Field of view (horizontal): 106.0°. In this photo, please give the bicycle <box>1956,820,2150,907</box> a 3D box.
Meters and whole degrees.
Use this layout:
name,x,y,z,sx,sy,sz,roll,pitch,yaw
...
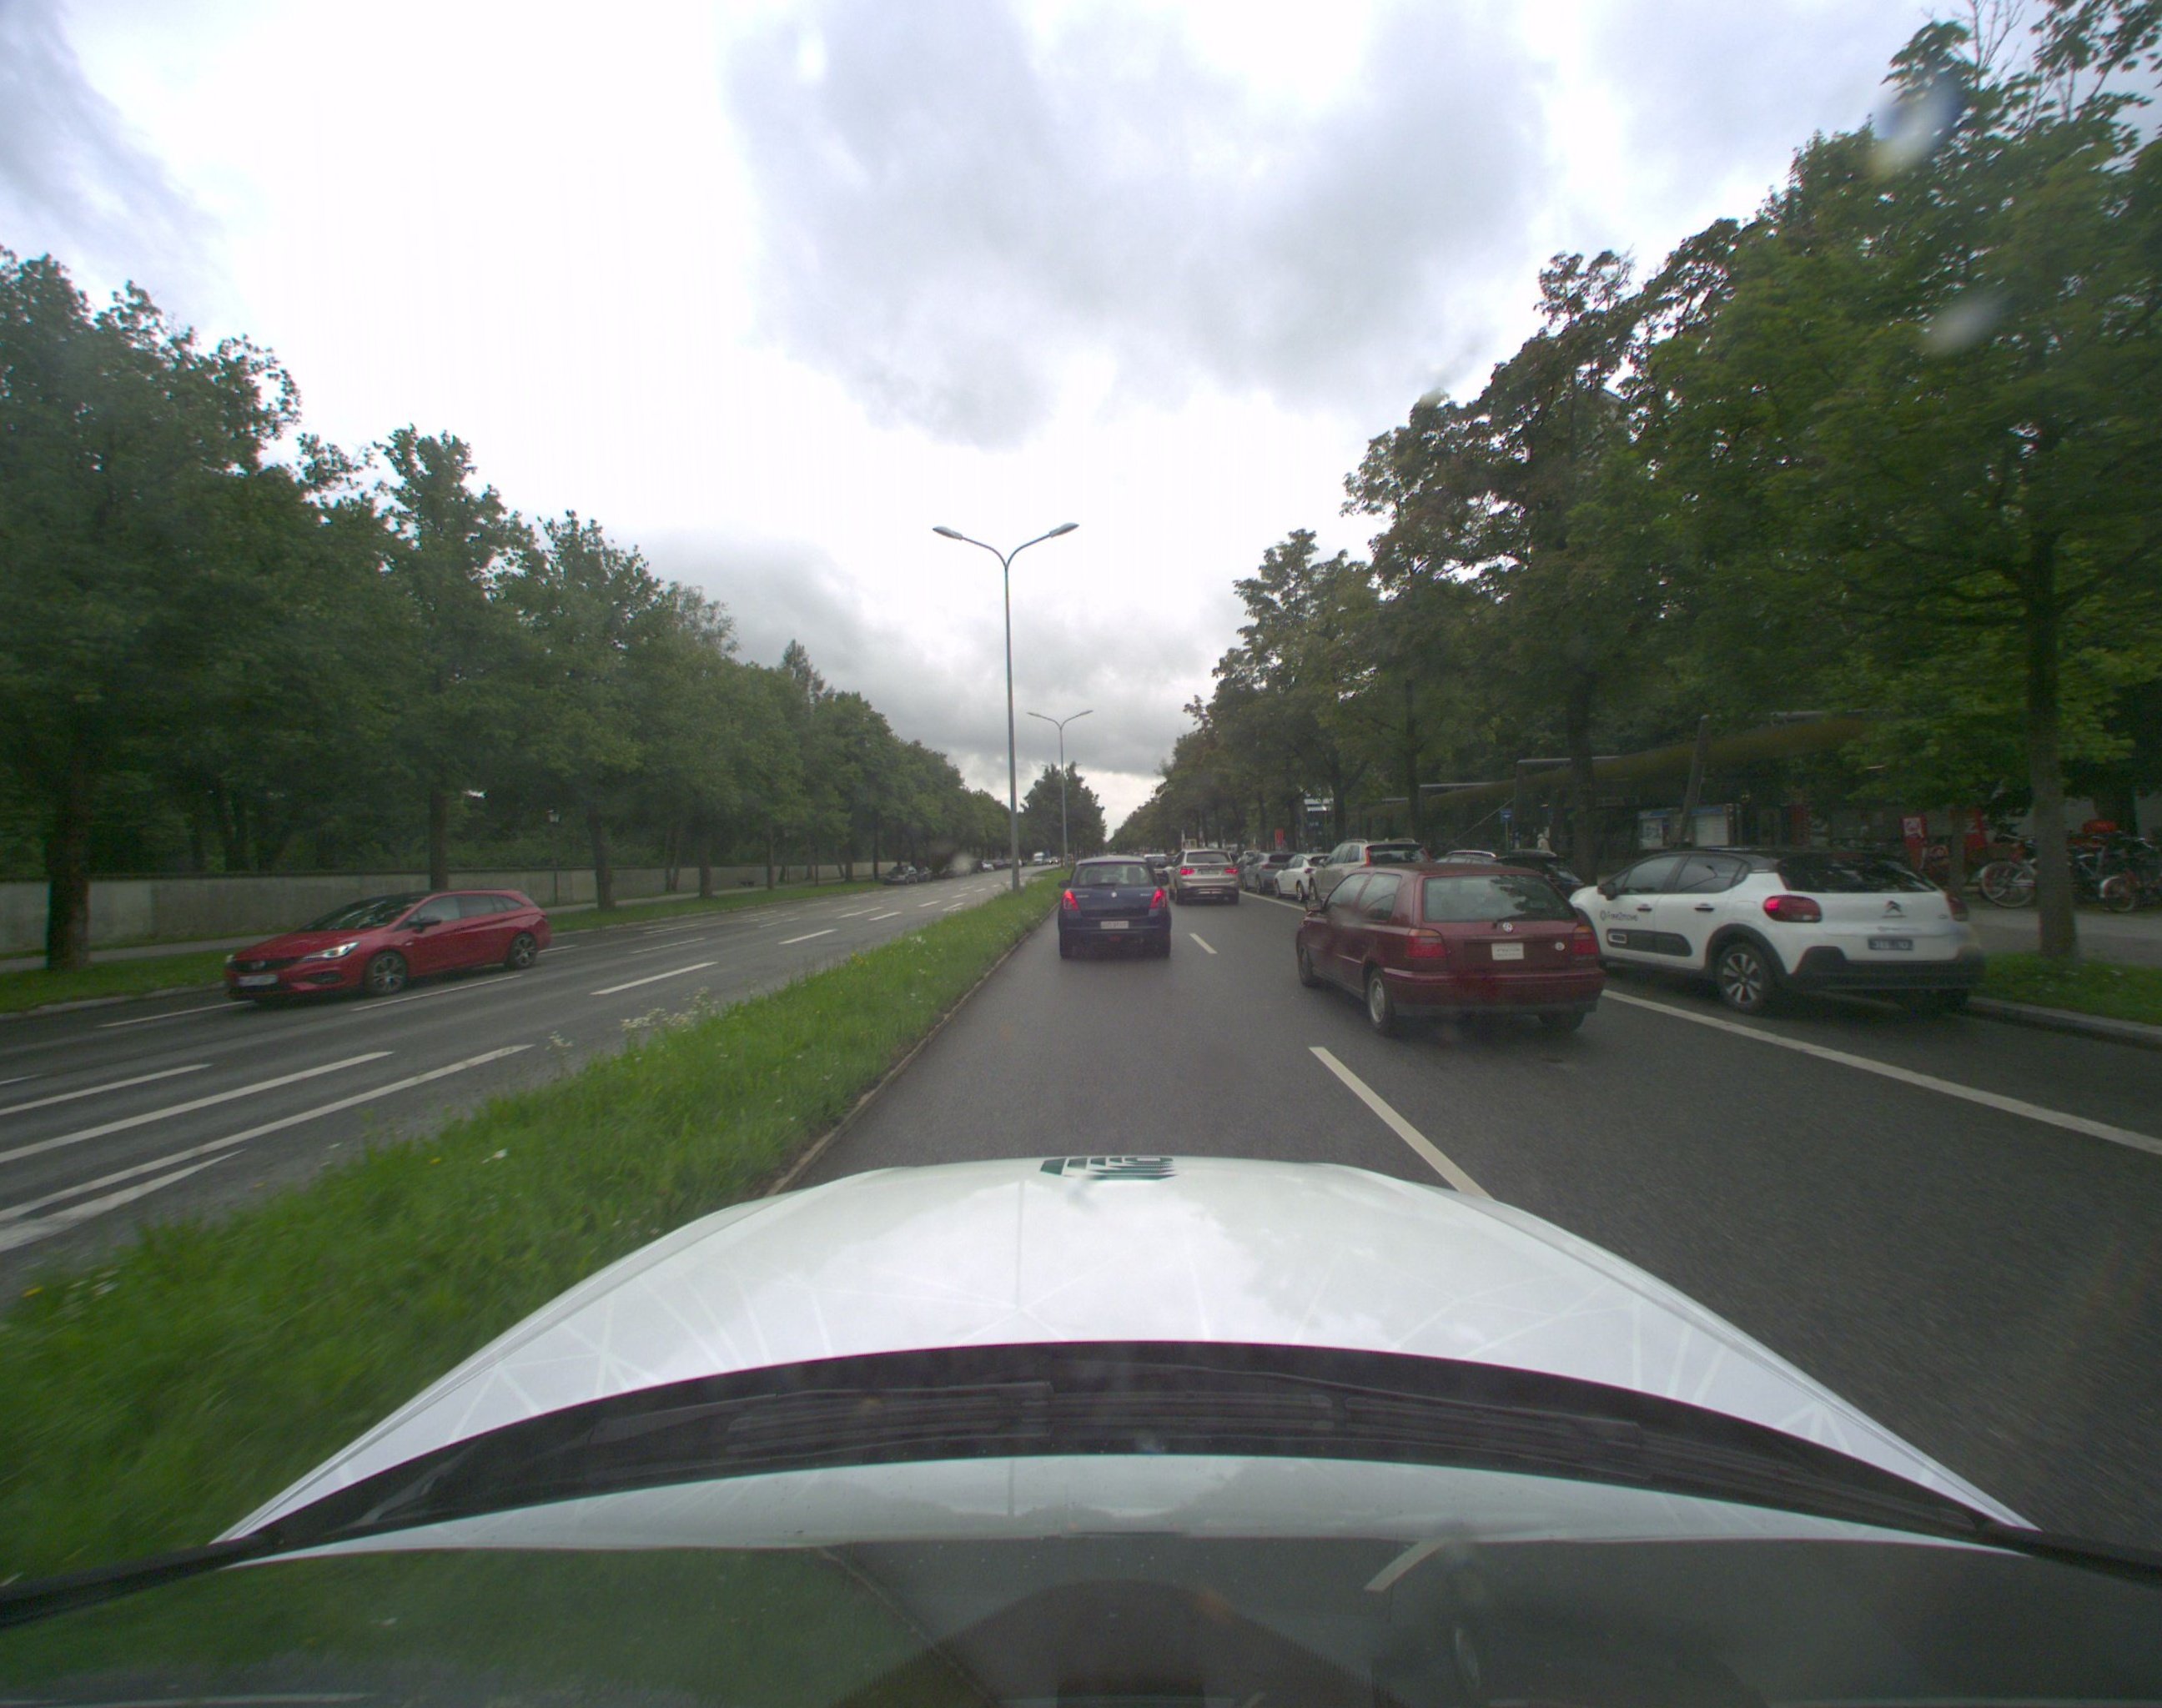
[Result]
name,x,y,z,sx,sy,sz,roll,pitch,yaw
bicycle,15.278,0.151,12.825,2.330,1.157,0.529,-5,0,1

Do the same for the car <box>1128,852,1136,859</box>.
name,x,y,z,sx,sy,sz,roll,pitch,yaw
car,12.752,0.372,204.010,1.844,1.447,4.097,-2,0,0

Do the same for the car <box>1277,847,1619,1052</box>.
name,x,y,z,sx,sy,sz,roll,pitch,yaw
car,3.193,0.703,8.010,1.616,1.454,3.951,-2,0,1

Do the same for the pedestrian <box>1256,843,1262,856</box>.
name,x,y,z,sx,sy,sz,roll,pitch,yaw
pedestrian,23.731,-0.633,108.472,0.572,1.751,0.733,-2,0,6

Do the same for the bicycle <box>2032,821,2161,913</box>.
name,x,y,z,sx,sy,sz,roll,pitch,yaw
bicycle,15.219,0.152,11.725,2.330,1.157,0.529,-5,0,1

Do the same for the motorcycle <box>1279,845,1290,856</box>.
name,x,y,z,sx,sy,sz,roll,pitch,yaw
motorcycle,25.112,-0.451,100.538,0.693,1.290,2.067,-7,0,2

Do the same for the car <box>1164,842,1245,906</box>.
name,x,y,z,sx,sy,sz,roll,pitch,yaw
car,3.709,0.569,25.148,1.844,1.743,4.097,-2,0,0

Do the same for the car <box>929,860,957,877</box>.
name,x,y,z,sx,sy,sz,roll,pitch,yaw
car,-13.400,1.359,79.198,1.563,1.503,4.310,-1,0,6

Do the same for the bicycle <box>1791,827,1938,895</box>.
name,x,y,z,sx,sy,sz,roll,pitch,yaw
bicycle,15.587,0.134,16.231,2.330,1.157,0.529,-5,0,1

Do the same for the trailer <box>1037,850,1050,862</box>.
name,x,y,z,sx,sy,sz,roll,pitch,yaw
trailer,-8.274,0.487,179.885,2.098,2.540,5.579,-3,0,2

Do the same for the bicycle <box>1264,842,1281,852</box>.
name,x,y,z,sx,sy,sz,roll,pitch,yaw
bicycle,33.179,-1.223,141.144,2.605,1.508,0.797,-3,0,-5

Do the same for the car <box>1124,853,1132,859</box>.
name,x,y,z,sx,sy,sz,roll,pitch,yaw
car,12.642,0.462,217.868,1.844,1.447,4.097,-2,0,0

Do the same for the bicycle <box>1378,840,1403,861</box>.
name,x,y,z,sx,sy,sz,roll,pitch,yaw
bicycle,19.203,-0.209,50.621,0.642,1.280,2.551,-2,0,2

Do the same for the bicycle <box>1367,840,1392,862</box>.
name,x,y,z,sx,sy,sz,roll,pitch,yaw
bicycle,18.529,-0.196,50.611,0.642,1.280,2.551,-2,0,2

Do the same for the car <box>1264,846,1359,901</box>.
name,x,y,z,sx,sy,sz,roll,pitch,yaw
car,7.084,0.546,25.525,1.696,1.508,4.504,-2,0,1

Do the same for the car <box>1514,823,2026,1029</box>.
name,x,y,z,sx,sy,sz,roll,pitch,yaw
car,6.582,0.563,8.595,1.707,1.547,4.382,-2,0,1

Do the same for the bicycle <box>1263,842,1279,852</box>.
name,x,y,z,sx,sy,sz,roll,pitch,yaw
bicycle,33.162,-1.225,142.021,2.605,1.508,0.797,-3,0,-5

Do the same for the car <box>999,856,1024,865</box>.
name,x,y,z,sx,sy,sz,roll,pitch,yaw
car,-13.025,1.215,152.871,4.122,1.585,1.900,-3,0,-32

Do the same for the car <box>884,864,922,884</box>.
name,x,y,z,sx,sy,sz,roll,pitch,yaw
car,-14.140,1.558,64.837,1.792,1.490,4.917,-1,0,2

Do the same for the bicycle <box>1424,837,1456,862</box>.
name,x,y,z,sx,sy,sz,roll,pitch,yaw
bicycle,19.925,-0.244,45.267,0.642,1.280,2.551,-2,0,2

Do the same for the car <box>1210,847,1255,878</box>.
name,x,y,z,sx,sy,sz,roll,pitch,yaw
car,8.105,0.422,43.831,1.711,1.508,4.225,-2,0,2

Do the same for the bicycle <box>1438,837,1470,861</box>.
name,x,y,z,sx,sy,sz,roll,pitch,yaw
bicycle,20.688,-0.287,45.263,0.642,1.280,2.551,-2,0,2

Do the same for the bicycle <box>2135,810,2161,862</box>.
name,x,y,z,sx,sy,sz,roll,pitch,yaw
bicycle,24.742,-0.417,17.768,0.525,1.157,2.349,-5,0,5

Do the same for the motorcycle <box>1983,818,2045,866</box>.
name,x,y,z,sx,sy,sz,roll,pitch,yaw
motorcycle,21.915,-0.298,19.159,0.650,1.062,1.825,-2,0,40

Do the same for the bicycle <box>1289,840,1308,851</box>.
name,x,y,z,sx,sy,sz,roll,pitch,yaw
bicycle,33.022,-1.274,123.483,2.612,1.508,0.795,-3,0,-12

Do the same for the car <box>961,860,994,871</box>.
name,x,y,z,sx,sy,sz,roll,pitch,yaw
car,-13.891,1.543,109.094,4.015,1.354,1.831,-3,0,-33

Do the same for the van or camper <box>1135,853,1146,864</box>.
name,x,y,z,sx,sy,sz,roll,pitch,yaw
van or camper,12.155,0.911,166.018,1.937,1.975,4.309,-2,0,3

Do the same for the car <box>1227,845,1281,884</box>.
name,x,y,z,sx,sy,sz,roll,pitch,yaw
car,7.434,0.433,35.339,1.536,1.534,4.092,3,0,2

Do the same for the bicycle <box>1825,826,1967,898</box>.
name,x,y,z,sx,sy,sz,roll,pitch,yaw
bicycle,15.320,0.142,15.322,2.336,1.157,0.528,-5,0,-7

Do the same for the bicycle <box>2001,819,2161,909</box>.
name,x,y,z,sx,sy,sz,roll,pitch,yaw
bicycle,15.377,0.133,12.273,2.330,1.157,0.529,-5,0,1

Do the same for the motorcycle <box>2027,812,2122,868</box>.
name,x,y,z,sx,sy,sz,roll,pitch,yaw
motorcycle,22.595,-0.323,18.566,0.650,1.177,1.824,-2,0,27

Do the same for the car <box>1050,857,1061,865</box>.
name,x,y,z,sx,sy,sz,roll,pitch,yaw
car,-5.171,1.447,166.681,1.907,1.542,4.187,-3,0,0

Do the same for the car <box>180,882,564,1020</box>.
name,x,y,z,sx,sy,sz,roll,pitch,yaw
car,-10.587,1.321,12.785,1.737,1.452,4.659,-5,0,2

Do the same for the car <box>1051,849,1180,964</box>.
name,x,y,z,sx,sy,sz,roll,pitch,yaw
car,0.502,0.743,13.574,1.783,1.555,4.000,-2,0,0

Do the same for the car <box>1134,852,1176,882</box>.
name,x,y,z,sx,sy,sz,roll,pitch,yaw
car,3.875,0.648,43.256,1.844,1.447,4.097,-2,0,0

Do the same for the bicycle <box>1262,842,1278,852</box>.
name,x,y,z,sx,sy,sz,roll,pitch,yaw
bicycle,33.617,-1.241,145.163,2.605,1.508,0.797,-3,0,-5

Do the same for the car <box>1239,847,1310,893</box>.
name,x,y,z,sx,sy,sz,roll,pitch,yaw
car,7.113,0.548,30.298,1.714,1.534,4.401,-1,0,2

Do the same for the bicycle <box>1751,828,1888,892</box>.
name,x,y,z,sx,sy,sz,roll,pitch,yaw
bicycle,15.627,0.130,17.253,2.330,1.157,0.529,-5,0,1

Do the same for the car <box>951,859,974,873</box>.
name,x,y,z,sx,sy,sz,roll,pitch,yaw
car,-13.266,1.354,91.400,1.629,1.439,4.812,-1,0,3

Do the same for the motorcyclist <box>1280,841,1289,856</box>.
name,x,y,z,sx,sy,sz,roll,pitch,yaw
motorcyclist,25.071,-0.681,100.367,0.688,1.737,0.954,-7,0,2

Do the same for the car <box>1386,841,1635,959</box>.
name,x,y,z,sx,sy,sz,roll,pitch,yaw
car,6.835,0.617,13.639,1.741,1.547,4.643,-4,0,1

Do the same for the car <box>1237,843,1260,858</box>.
name,x,y,z,sx,sy,sz,roll,pitch,yaw
car,19.944,-0.424,96.838,1.986,1.651,4.002,-3,0,2

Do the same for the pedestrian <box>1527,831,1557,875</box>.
name,x,y,z,sx,sy,sz,roll,pitch,yaw
pedestrian,16.406,-0.026,28.993,0.580,1.513,0.690,-2,0,-17

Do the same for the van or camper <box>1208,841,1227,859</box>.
name,x,y,z,sx,sy,sz,roll,pitch,yaw
van or camper,20.357,-0.658,121.890,2.016,2.558,5.960,-3,0,2

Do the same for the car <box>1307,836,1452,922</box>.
name,x,y,z,sx,sy,sz,roll,pitch,yaw
car,6.815,0.495,19.194,1.740,1.724,4.909,-1,0,2

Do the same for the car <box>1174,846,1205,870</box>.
name,x,y,z,sx,sy,sz,roll,pitch,yaw
car,8.178,0.317,61.623,1.780,1.675,4.596,-2,0,1

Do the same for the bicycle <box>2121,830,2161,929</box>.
name,x,y,z,sx,sy,sz,roll,pitch,yaw
bicycle,14.187,0.230,9.866,2.330,1.157,0.585,-5,0,1

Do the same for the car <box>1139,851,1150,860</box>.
name,x,y,z,sx,sy,sz,roll,pitch,yaw
car,10.722,0.192,138.355,1.677,1.525,4.459,-1,0,3

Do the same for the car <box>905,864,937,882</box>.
name,x,y,z,sx,sy,sz,roll,pitch,yaw
car,-13.858,1.617,70.794,1.653,1.396,4.709,-1,0,2

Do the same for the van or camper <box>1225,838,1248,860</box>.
name,x,y,z,sx,sy,sz,roll,pitch,yaw
van or camper,20.089,-0.635,105.259,1.986,2.558,5.960,-3,0,2

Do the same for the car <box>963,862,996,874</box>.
name,x,y,z,sx,sy,sz,roll,pitch,yaw
car,-13.943,1.907,111.794,4.059,1.381,1.657,-2,0,-34
